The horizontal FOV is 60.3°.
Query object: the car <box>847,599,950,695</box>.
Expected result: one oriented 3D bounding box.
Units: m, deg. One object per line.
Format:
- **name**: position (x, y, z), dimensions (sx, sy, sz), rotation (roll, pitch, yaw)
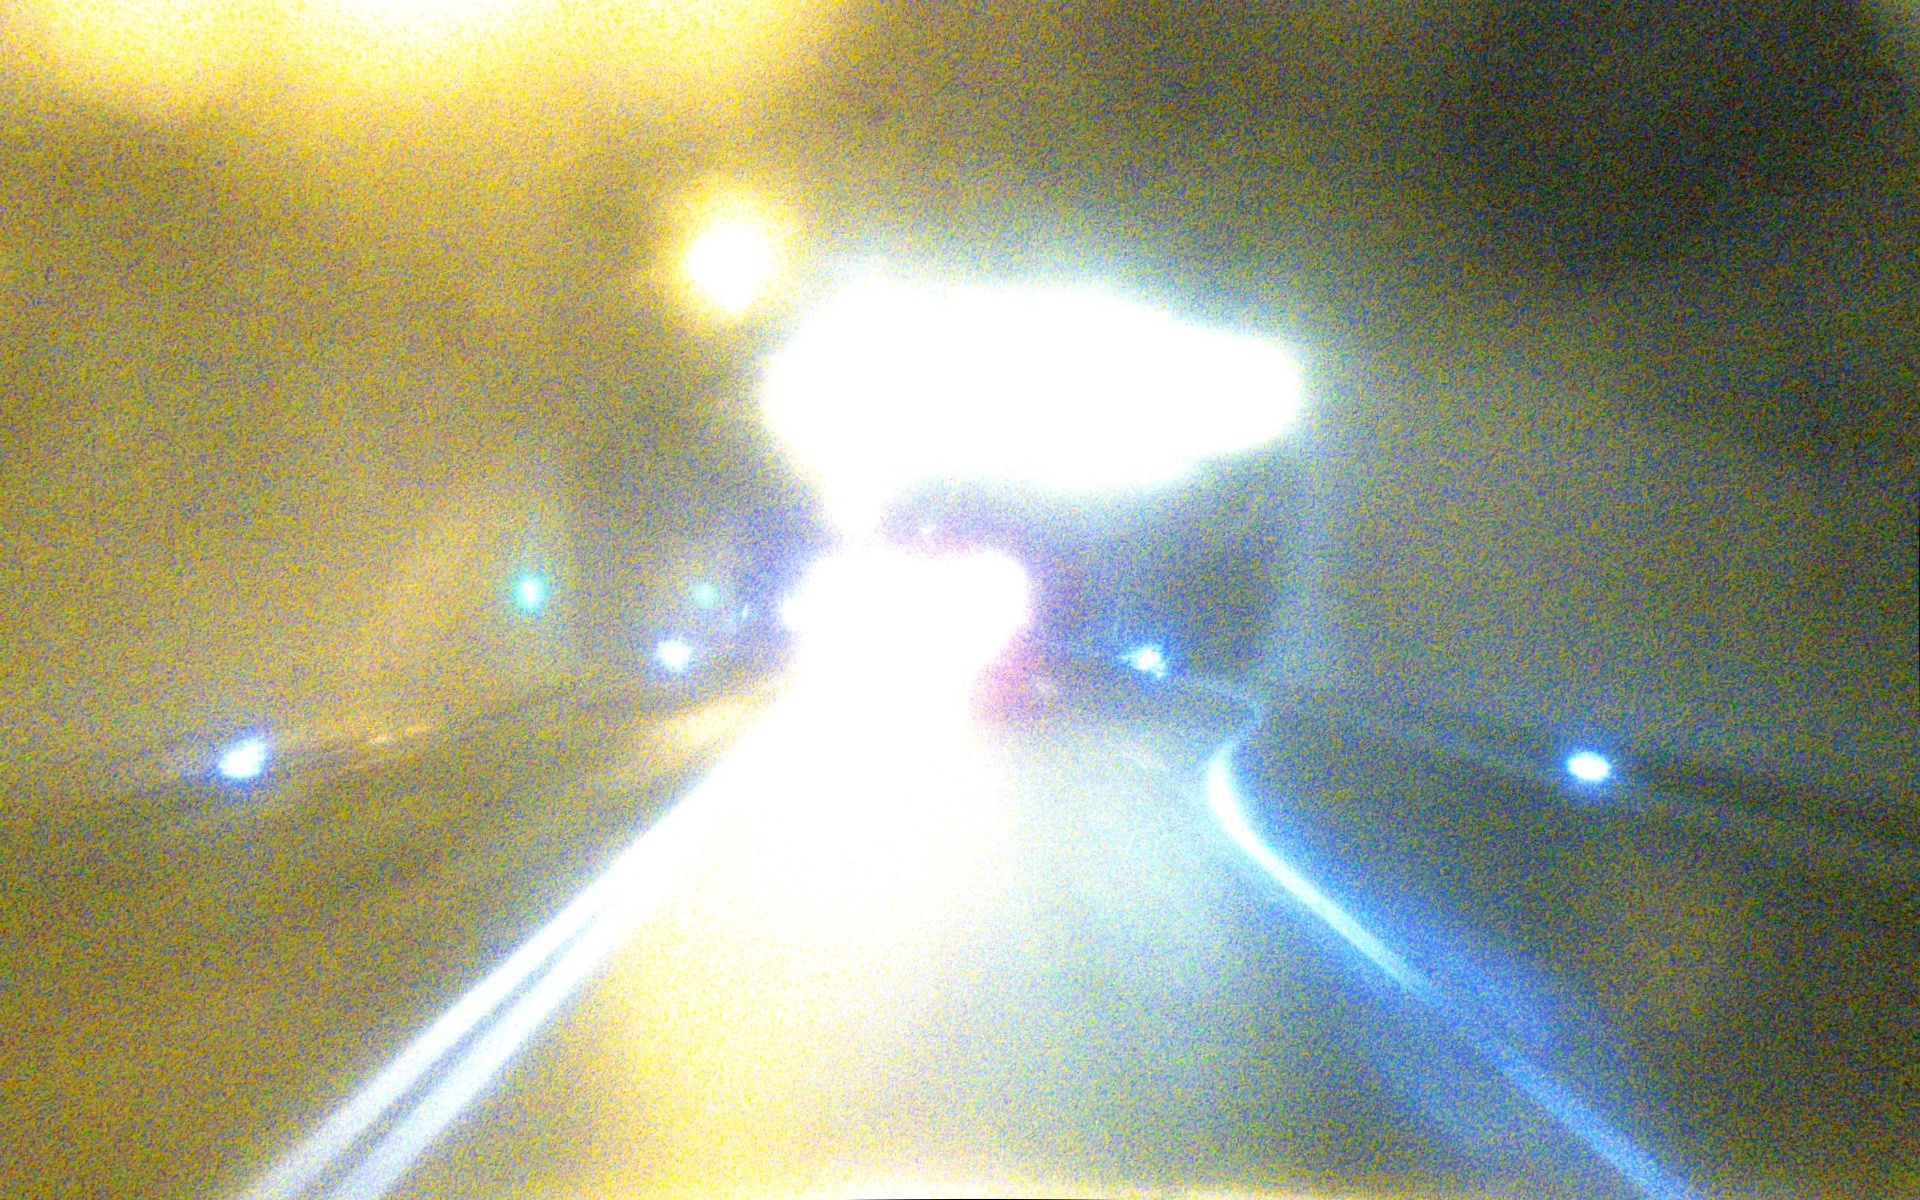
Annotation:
- **car**: position (-1.087, 0.847, 31.002), dimensions (1.772, 1.650, 3.999), rotation (1, -1, -1)
